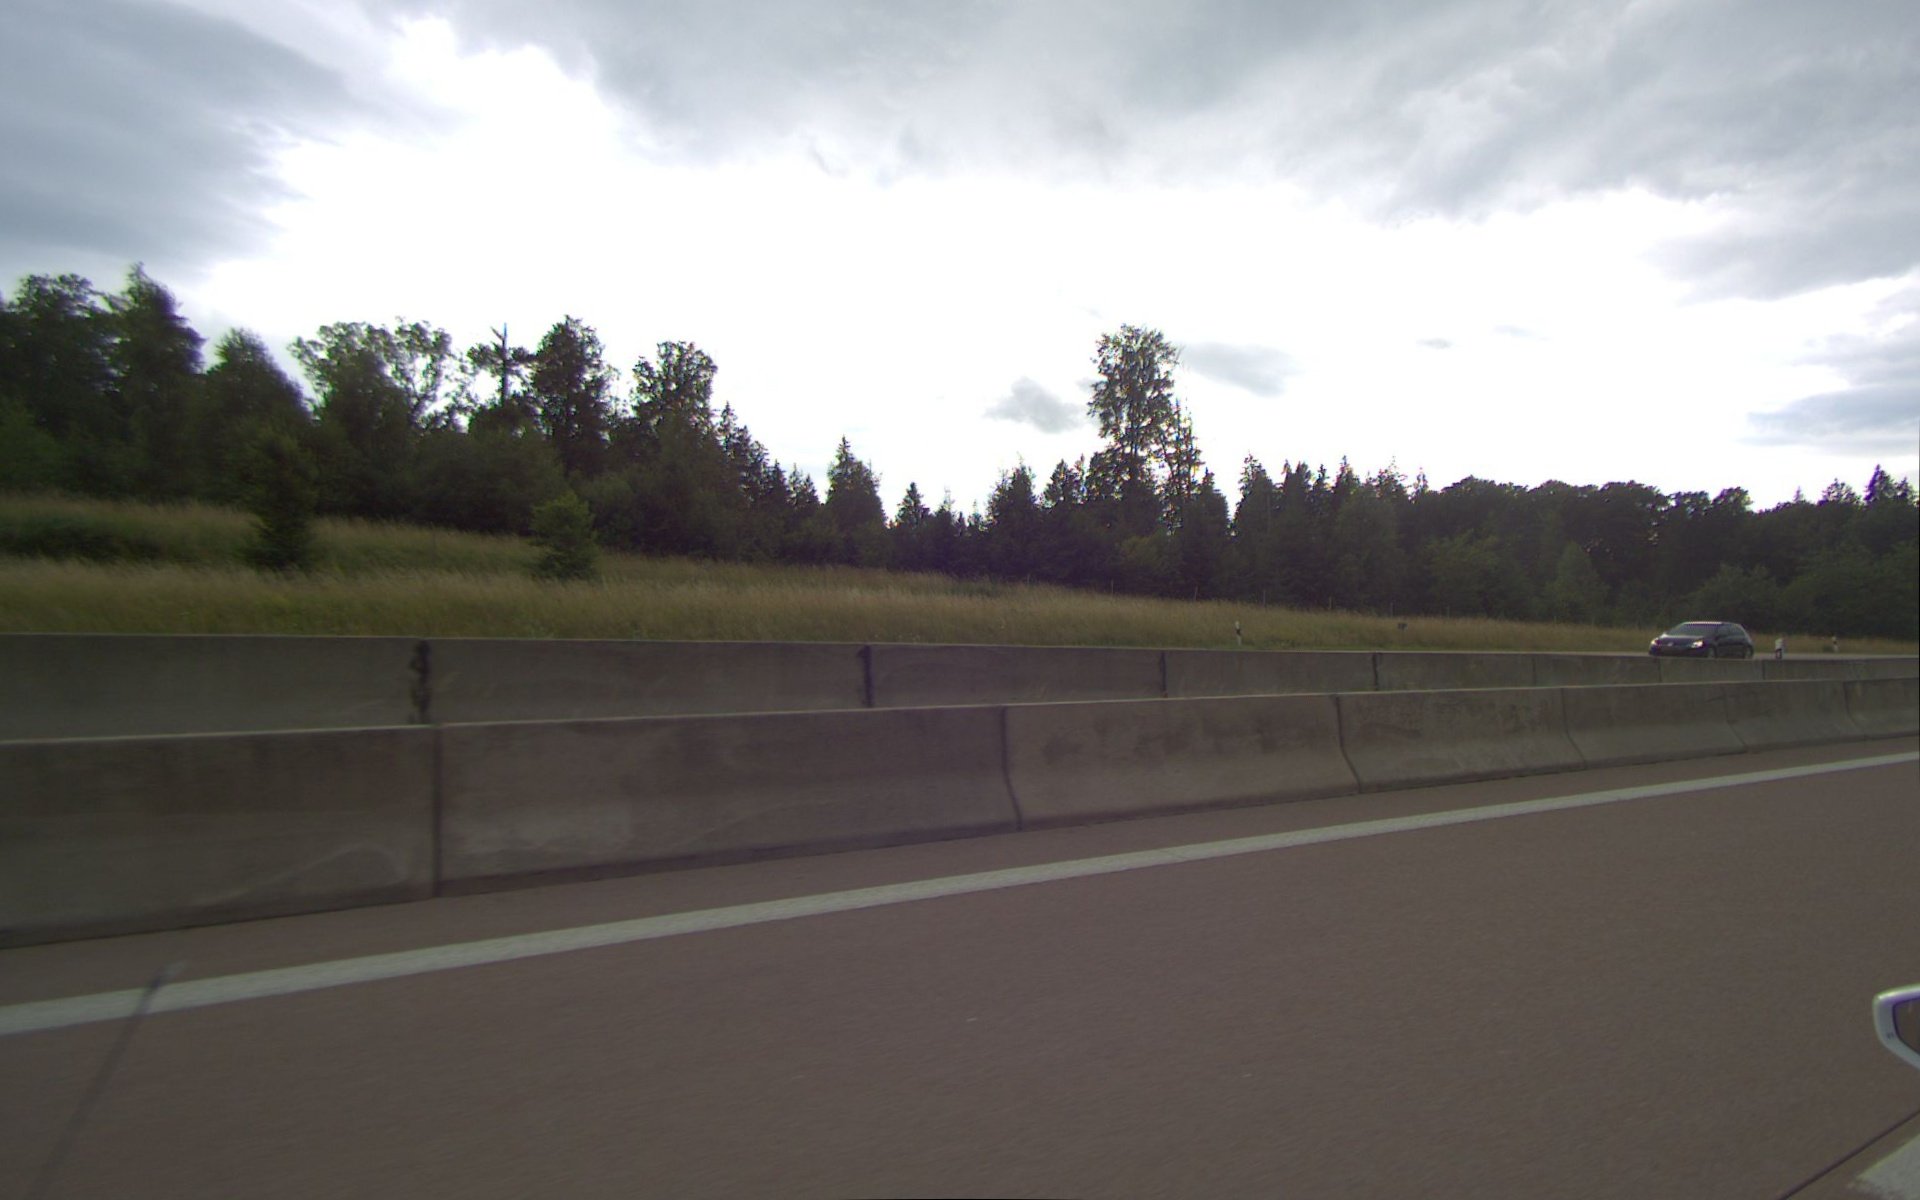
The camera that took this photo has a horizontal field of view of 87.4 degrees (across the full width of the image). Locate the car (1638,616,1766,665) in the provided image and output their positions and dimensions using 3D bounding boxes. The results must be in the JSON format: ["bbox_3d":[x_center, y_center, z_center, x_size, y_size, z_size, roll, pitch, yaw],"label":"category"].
[{"bbox_3d":[25.885,1.426,35.026,4.369,1.507,1.922,3,-1,-28],"label":"car"}]
